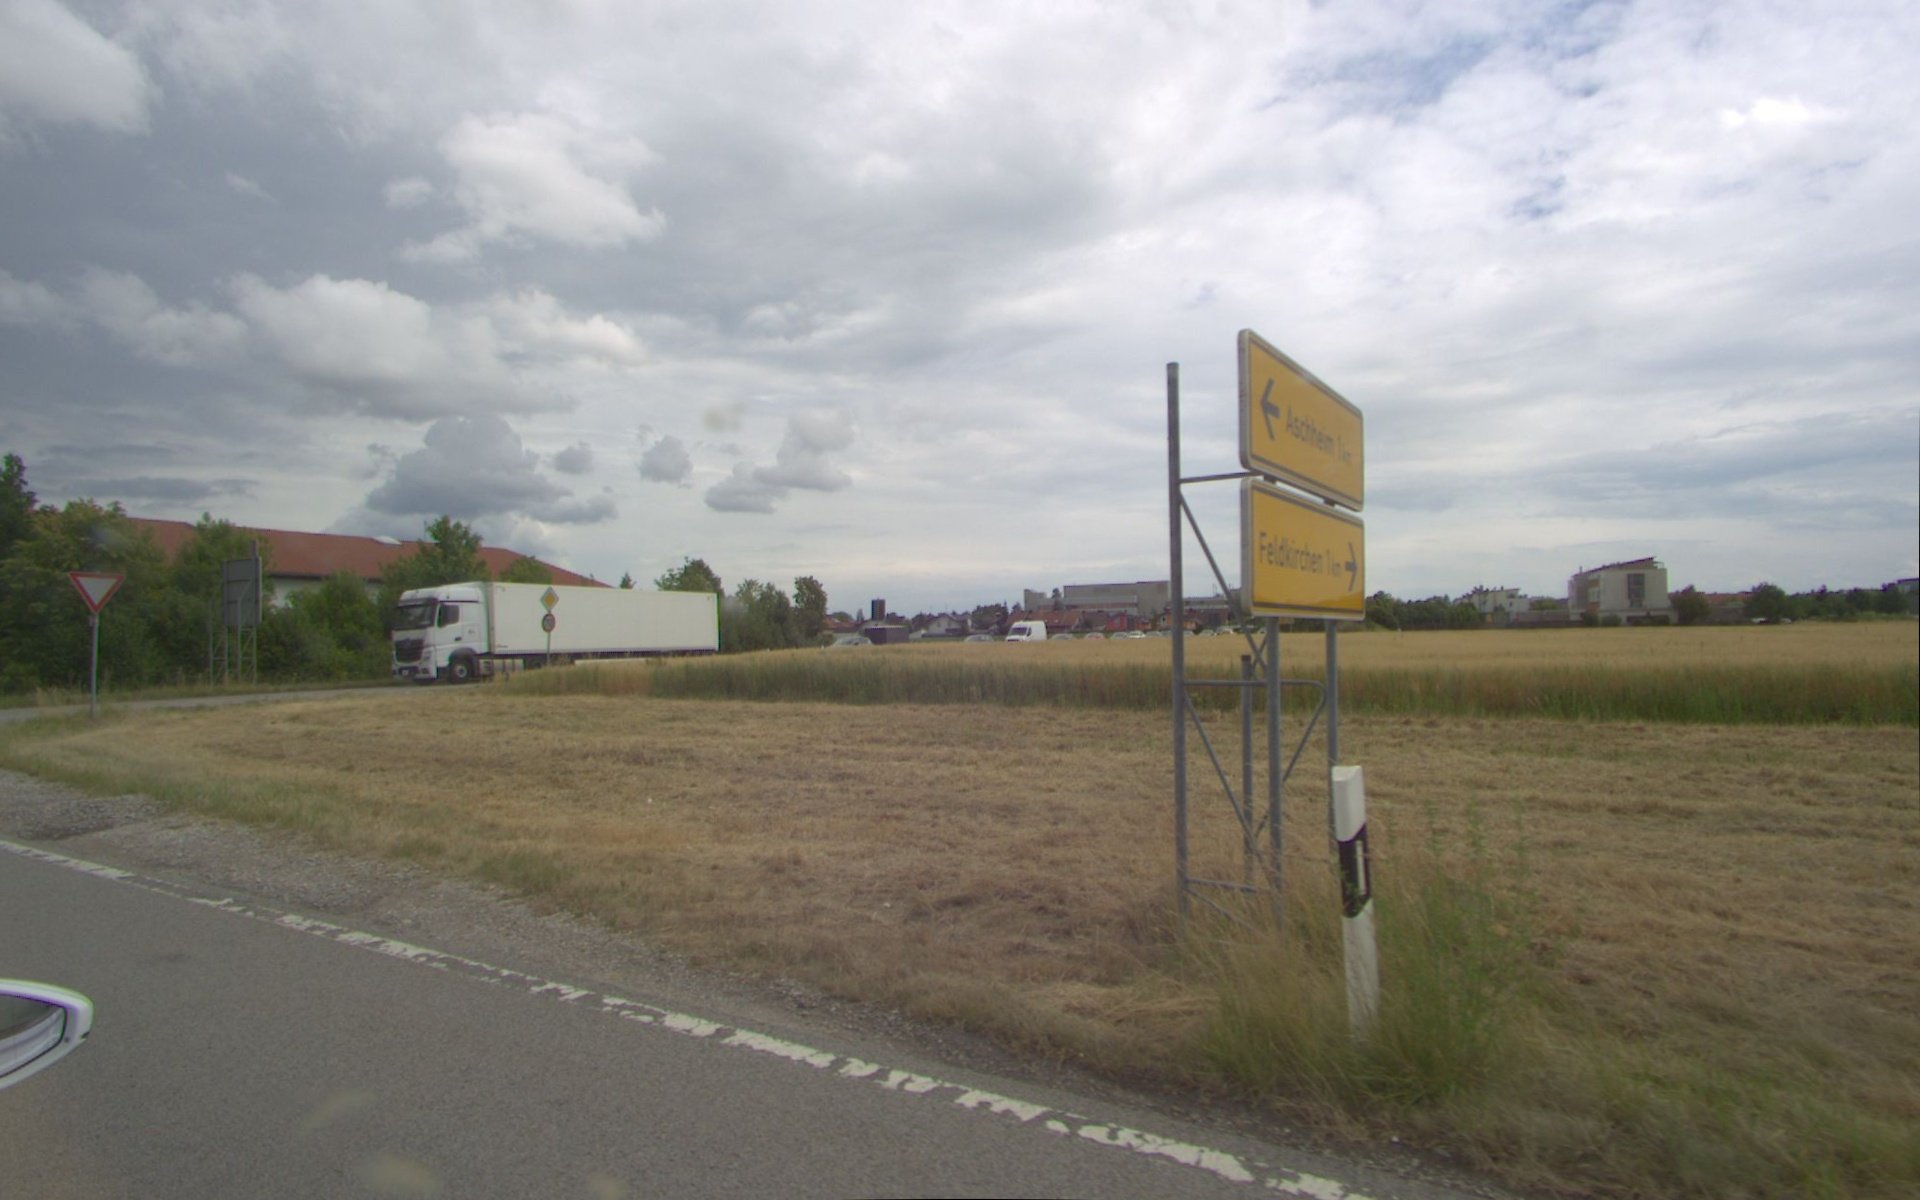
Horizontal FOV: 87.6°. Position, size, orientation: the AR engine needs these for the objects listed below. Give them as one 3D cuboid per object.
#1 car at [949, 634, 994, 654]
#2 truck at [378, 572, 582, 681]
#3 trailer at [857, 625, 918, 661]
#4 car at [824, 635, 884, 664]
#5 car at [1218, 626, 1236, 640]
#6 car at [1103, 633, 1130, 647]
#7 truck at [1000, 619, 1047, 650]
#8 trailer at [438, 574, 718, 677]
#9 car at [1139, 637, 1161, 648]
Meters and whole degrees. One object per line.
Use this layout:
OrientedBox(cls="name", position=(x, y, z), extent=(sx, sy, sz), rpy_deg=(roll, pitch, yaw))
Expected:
OrientedBox(cls="car", position=(0.940, 3.521, 80.763), extent=(1.968, 1.506, 4.287), rpy_deg=(-2, -1, 26))
OrientedBox(cls="truck", position=(-19.653, 1.146, 41.535), extent=(3.080, 4.064, 7.283), rpy_deg=(-3, -3, 26))
OrientedBox(cls="trailer", position=(-5.051, 2.977, 70.054), extent=(2.378, 2.321, 4.383), rpy_deg=(-3, -2, 25))
OrientedBox(cls="car", position=(-6.941, 3.232, 65.999), extent=(1.968, 1.703, 4.466), rpy_deg=(-3, -2, 24))
OrientedBox(cls="car", position=(39.347, 4.809, 147.657), extent=(1.967, 1.915, 3.988), rpy_deg=(-1, 0, 23))
OrientedBox(cls="car", position=(17.591, 4.528, 112.275), extent=(1.827, 1.485, 3.985), rpy_deg=(-1, -2, 27))
OrientedBox(cls="truck", position=(5.757, 3.127, 90.096), extent=(1.969, 2.607, 5.995), rpy_deg=(-3, -3, 27))
OrientedBox(cls="trailer", position=(-17.100, 1.251, 46.819), extent=(3.080, 4.064, 13.842), rpy_deg=(-3, -3, 26))
OrientedBox(cls="car", position=(23.967, 5.330, 126.006), extent=(1.826, 1.286, 3.518), rpy_deg=(-1, -2, 26))
